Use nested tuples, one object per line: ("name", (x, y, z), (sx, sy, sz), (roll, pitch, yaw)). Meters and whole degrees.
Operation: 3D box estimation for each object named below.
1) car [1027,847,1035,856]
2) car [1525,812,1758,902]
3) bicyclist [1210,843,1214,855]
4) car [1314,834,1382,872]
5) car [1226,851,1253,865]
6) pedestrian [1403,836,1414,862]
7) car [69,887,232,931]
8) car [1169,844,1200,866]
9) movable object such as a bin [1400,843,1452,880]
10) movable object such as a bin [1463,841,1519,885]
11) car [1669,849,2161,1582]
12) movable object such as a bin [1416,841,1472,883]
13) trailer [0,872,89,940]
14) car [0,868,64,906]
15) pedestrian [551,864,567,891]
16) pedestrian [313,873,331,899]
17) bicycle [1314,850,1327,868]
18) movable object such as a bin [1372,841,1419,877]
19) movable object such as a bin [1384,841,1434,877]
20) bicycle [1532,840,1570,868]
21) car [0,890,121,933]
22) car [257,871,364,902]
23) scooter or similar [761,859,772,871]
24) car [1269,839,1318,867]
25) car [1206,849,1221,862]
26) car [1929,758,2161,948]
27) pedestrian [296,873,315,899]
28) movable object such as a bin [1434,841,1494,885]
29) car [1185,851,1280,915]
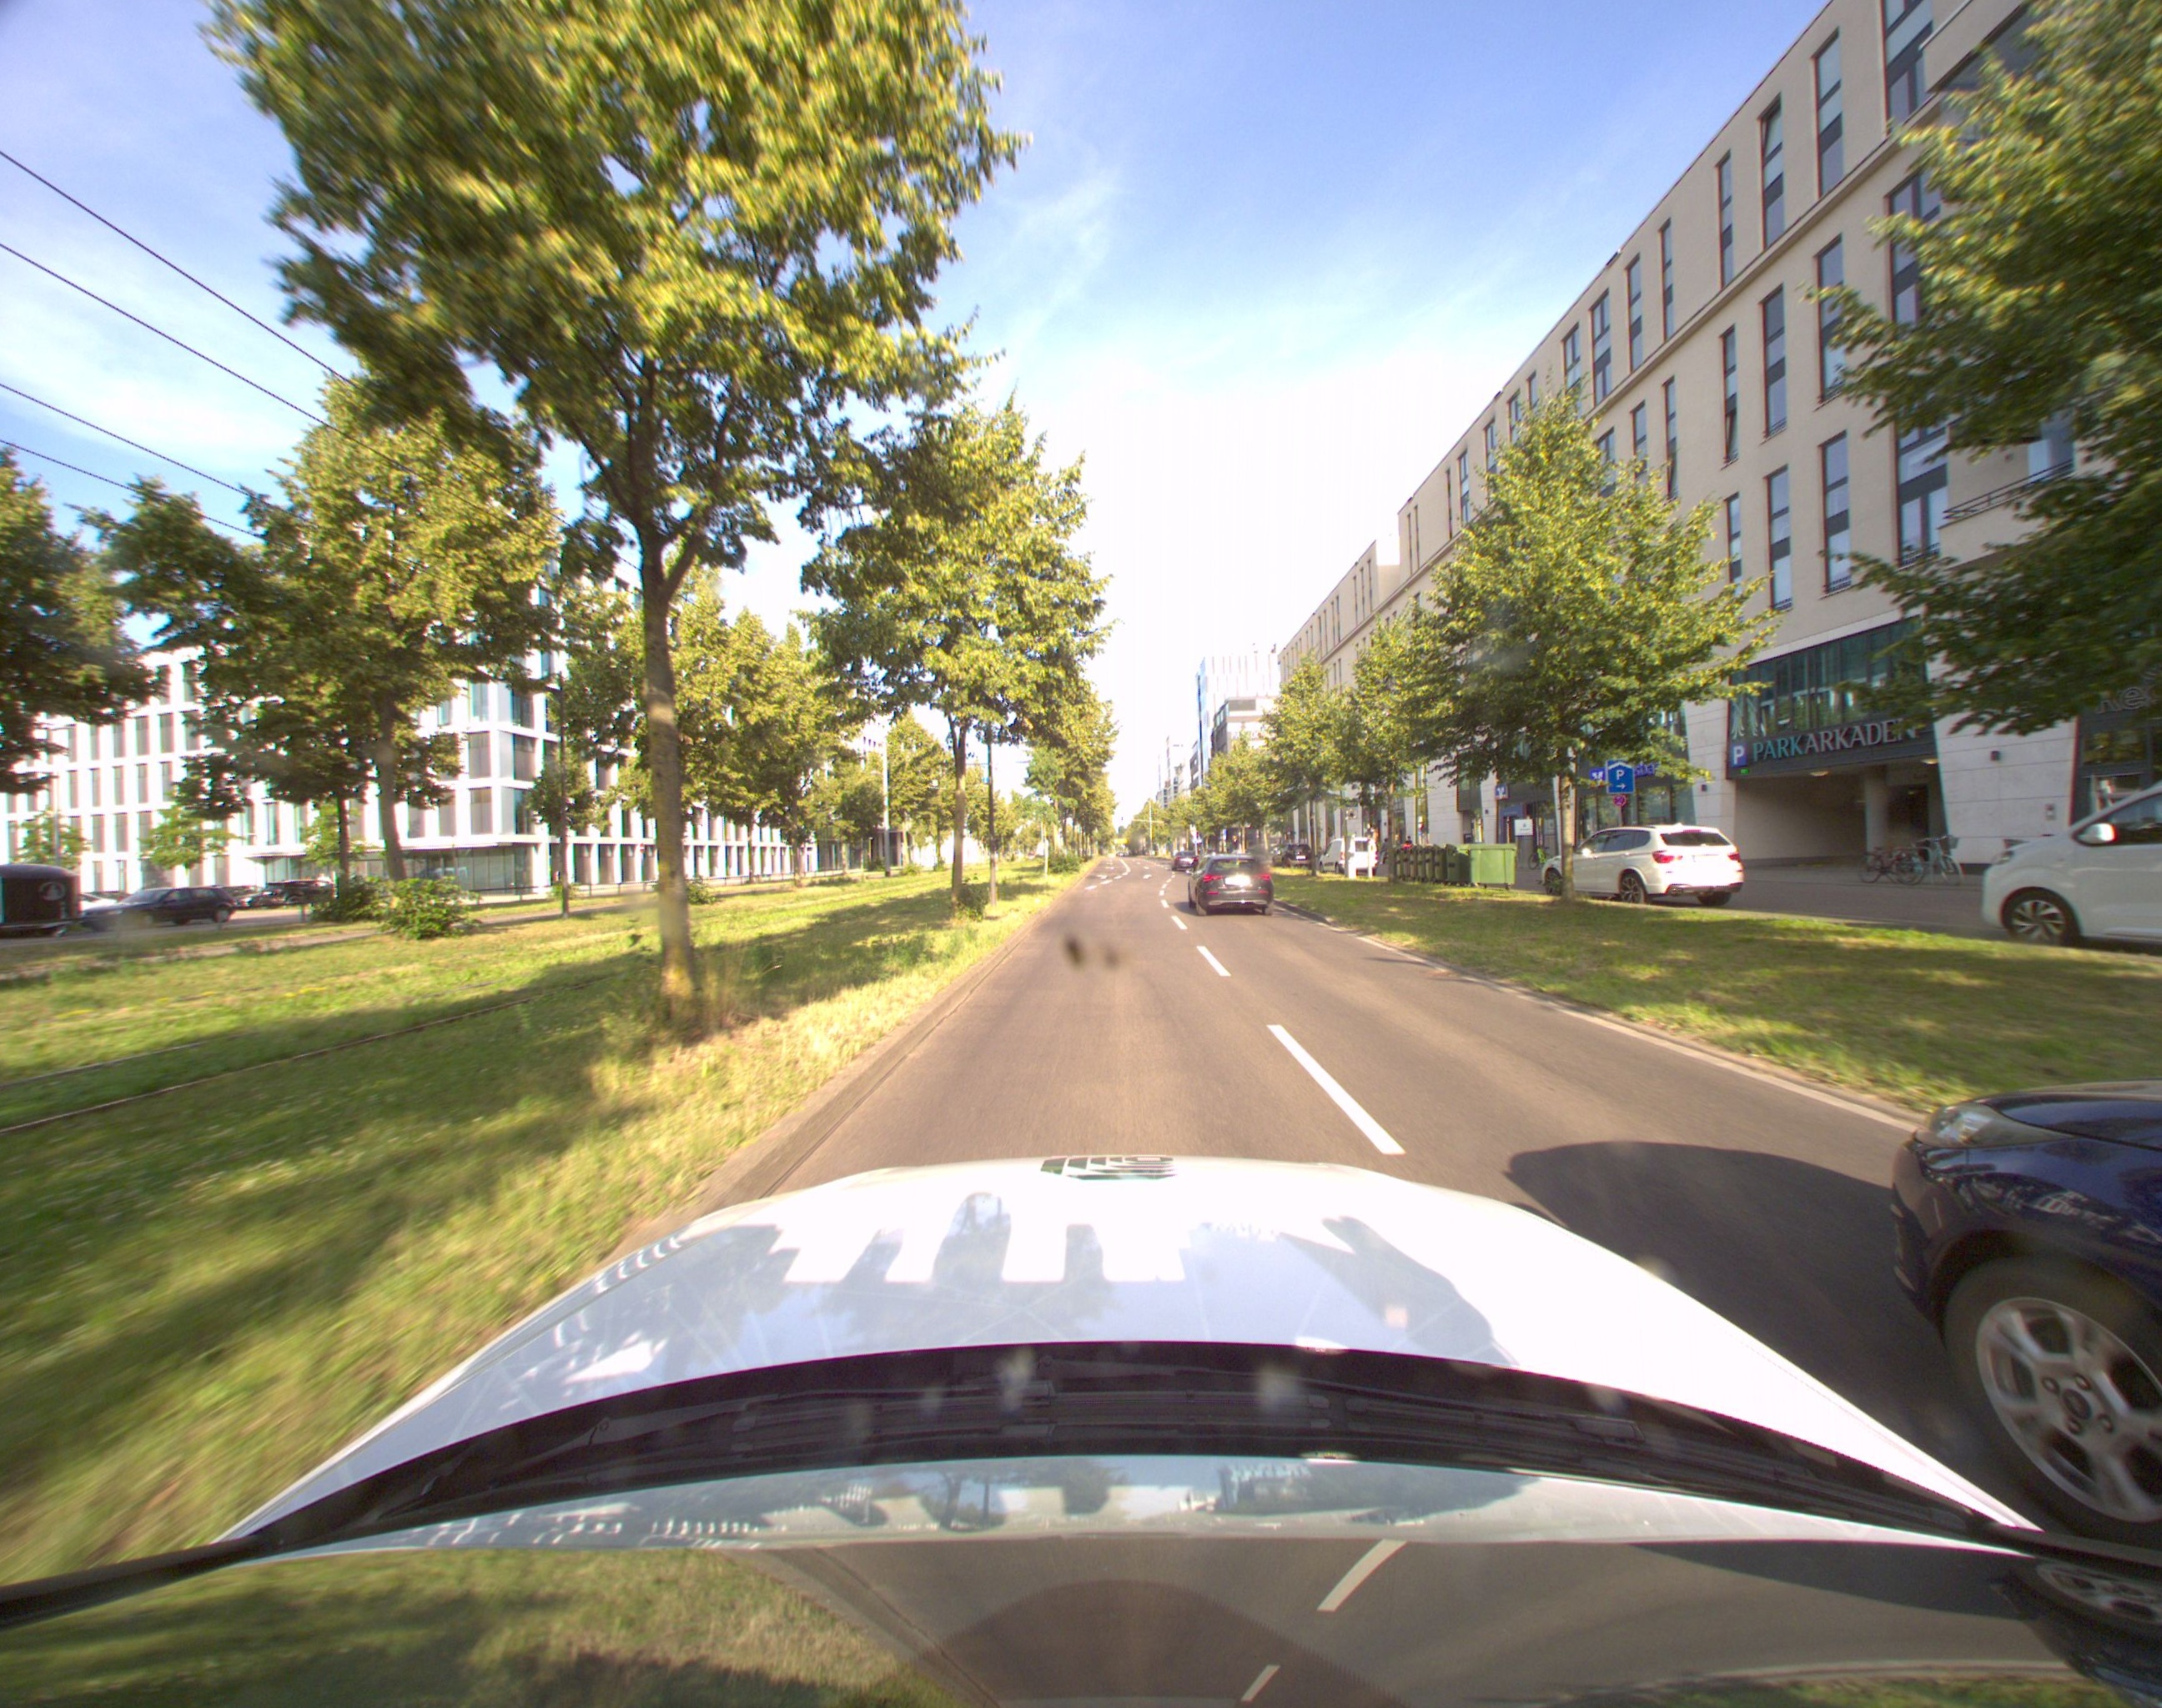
("car", (-10.335, -0.434, 168.286), (1.679, 1.775, 3.880), (0, 0, -1))
("car", (11.979, 0.051, 17.900), (1.725, 1.630, 4.849), (-2, 0, -1))
("bicyclist", (19.280, -0.689, 119.674), (0.573, 1.707, 0.540), (0, -1, -2))
("car", (12.681, -0.028, 38.969), (1.821, 1.711, 4.295), (0, 0, -1))
("car", (13.926, 0.373, 71.816), (1.702, 1.242, 3.906), (0, 0, 1))
("pedestrian", (22.631, -0.323, 56.284), (0.535, 1.763, 0.647), (0, -1, 2))
("car", (-34.014, 1.979, 29.933), (1.674, 1.393, 3.760), (0, 0, -1))
("car", (7.298, 0.086, 57.672), (1.852, 1.524, 3.788), (0, 0, 2))
("movable object such as a bin", (11.694, 0.252, 27.657), (1.274, 1.237, 1.191), (0, 0, -2))
("movable object such as a bin", (11.789, 0.255, 23.400), (1.385, 1.237, 1.344), (0, 0, 29))
("car", (2.859, 0.699, 1.000), (1.554, 1.424, 3.909), (0, 0, 2))
("movable object such as a bin", (11.672, 0.245, 26.249), (1.274, 1.317, 1.191), (0, 0, -2))
("trailer", (-35.026, 1.629, 26.273), (4.339, 2.054, 1.762), (0, 0, 8))
("car", (-73.378, 2.263, 55.299), (1.791, 2.532, 5.053), (0, 0, 18))
("pedestrian", (-34.154, 1.549, 53.263), (0.565, 1.728, 0.692), (0, -1, 2))
("pedestrian", (-49.252, 2.049, 52.825), (0.585, 1.629, 0.638), (4, 1, 26))
("bicycle", (21.234, 0.451, 72.200), (0.553, 1.571, 2.278), (0, -1, 3))
("movable object such as a bin", (11.693, 0.185, 30.294), (1.274, 1.291, 1.177), (0, 0, -2))
("movable object such as a bin", (11.692, 0.180, 29.059), (1.274, 1.237, 1.191), (0, 0, -2))
("bicycle", (19.621, 0.012, 34.049), (0.490, 1.116, 1.946), (-2, 0, 2))
("car", (-44.764, 2.433, 35.060), (1.835, 1.596, 4.014), (0, 0, 13))
("car", (-43.987, 1.817, 46.619), (1.840, 1.672, 4.018), (0, 0, 17))
("scooter or similar", (-33.101, 1.185, 85.624), (0.333, 1.226, 1.304), (0, 0, 15))
("car", (13.298, -0.086, 51.182), (1.890, 1.708, 4.678), (0, 1, 0))
("car", (15.147, 0.192, 93.149), (1.598, 1.370, 4.165), (0, 0, 7))
("car", (11.595, -0.009, 7.764), (1.831, 1.876, 5.031), (0, 0, 0))
("pedestrian", (-49.624, 2.047, 52.126), (0.585, 1.629, 0.638), (4, 1, 26))
("movable object such as a bin", (11.683, 0.262, 24.903), (1.274, 1.302, 1.191), (0, 0, -2))
("car", (3.629, 0.647, 20.137), (1.767, 1.424, 3.963), (0, 0, 3))
